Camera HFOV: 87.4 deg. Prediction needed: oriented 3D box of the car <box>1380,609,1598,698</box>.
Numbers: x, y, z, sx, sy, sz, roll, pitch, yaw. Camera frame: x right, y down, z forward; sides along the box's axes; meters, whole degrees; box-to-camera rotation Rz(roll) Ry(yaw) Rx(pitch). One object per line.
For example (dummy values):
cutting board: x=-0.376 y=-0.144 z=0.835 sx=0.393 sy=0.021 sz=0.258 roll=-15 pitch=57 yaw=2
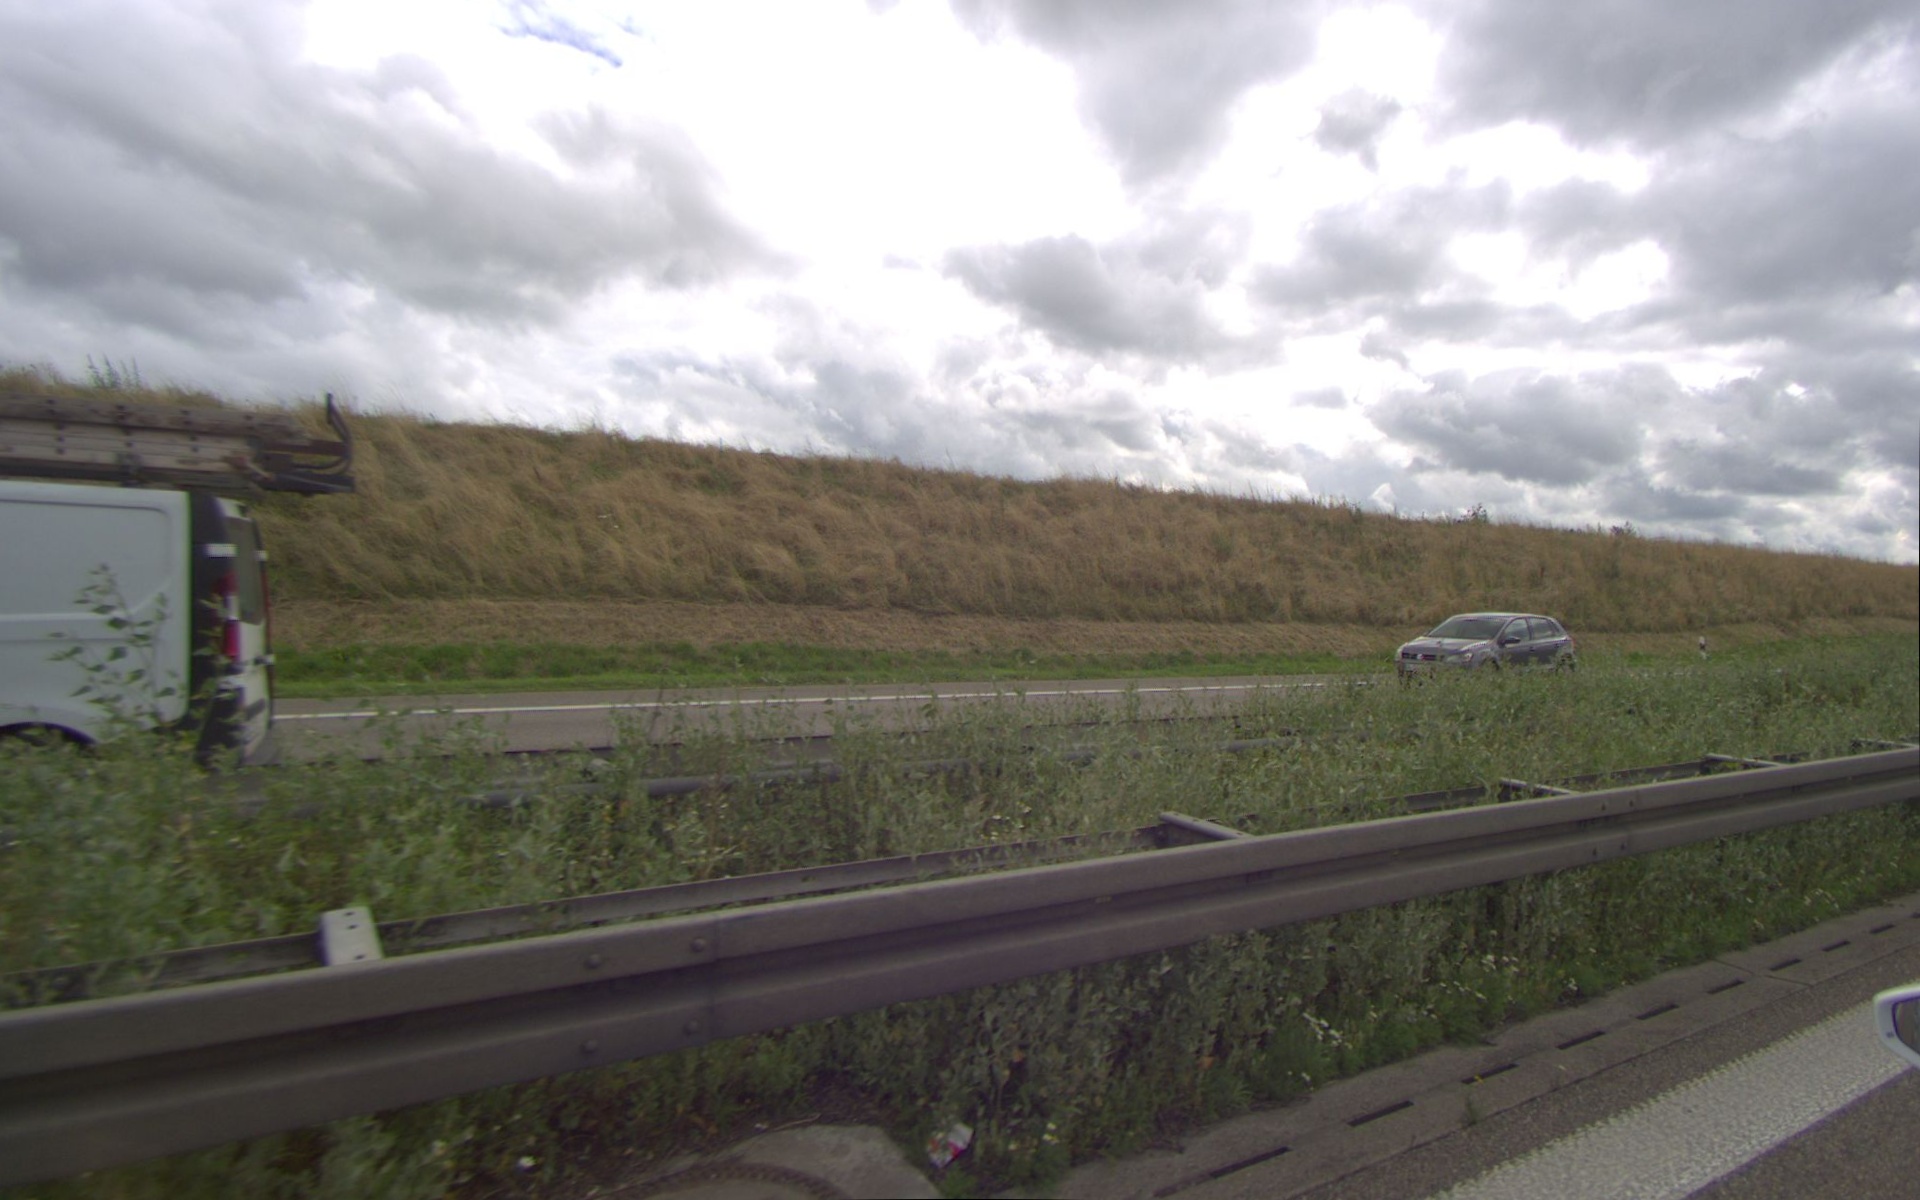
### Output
car: x=9.900 y=0.971 z=18.755 sx=3.953 sy=1.473 sz=1.764 roll=2 pitch=0 yaw=-30

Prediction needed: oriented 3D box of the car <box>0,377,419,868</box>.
car: x=-6.120 y=0.064 z=5.128 sx=5.804 sy=2.379 sz=1.983 roll=2 pitch=0 yaw=-31
